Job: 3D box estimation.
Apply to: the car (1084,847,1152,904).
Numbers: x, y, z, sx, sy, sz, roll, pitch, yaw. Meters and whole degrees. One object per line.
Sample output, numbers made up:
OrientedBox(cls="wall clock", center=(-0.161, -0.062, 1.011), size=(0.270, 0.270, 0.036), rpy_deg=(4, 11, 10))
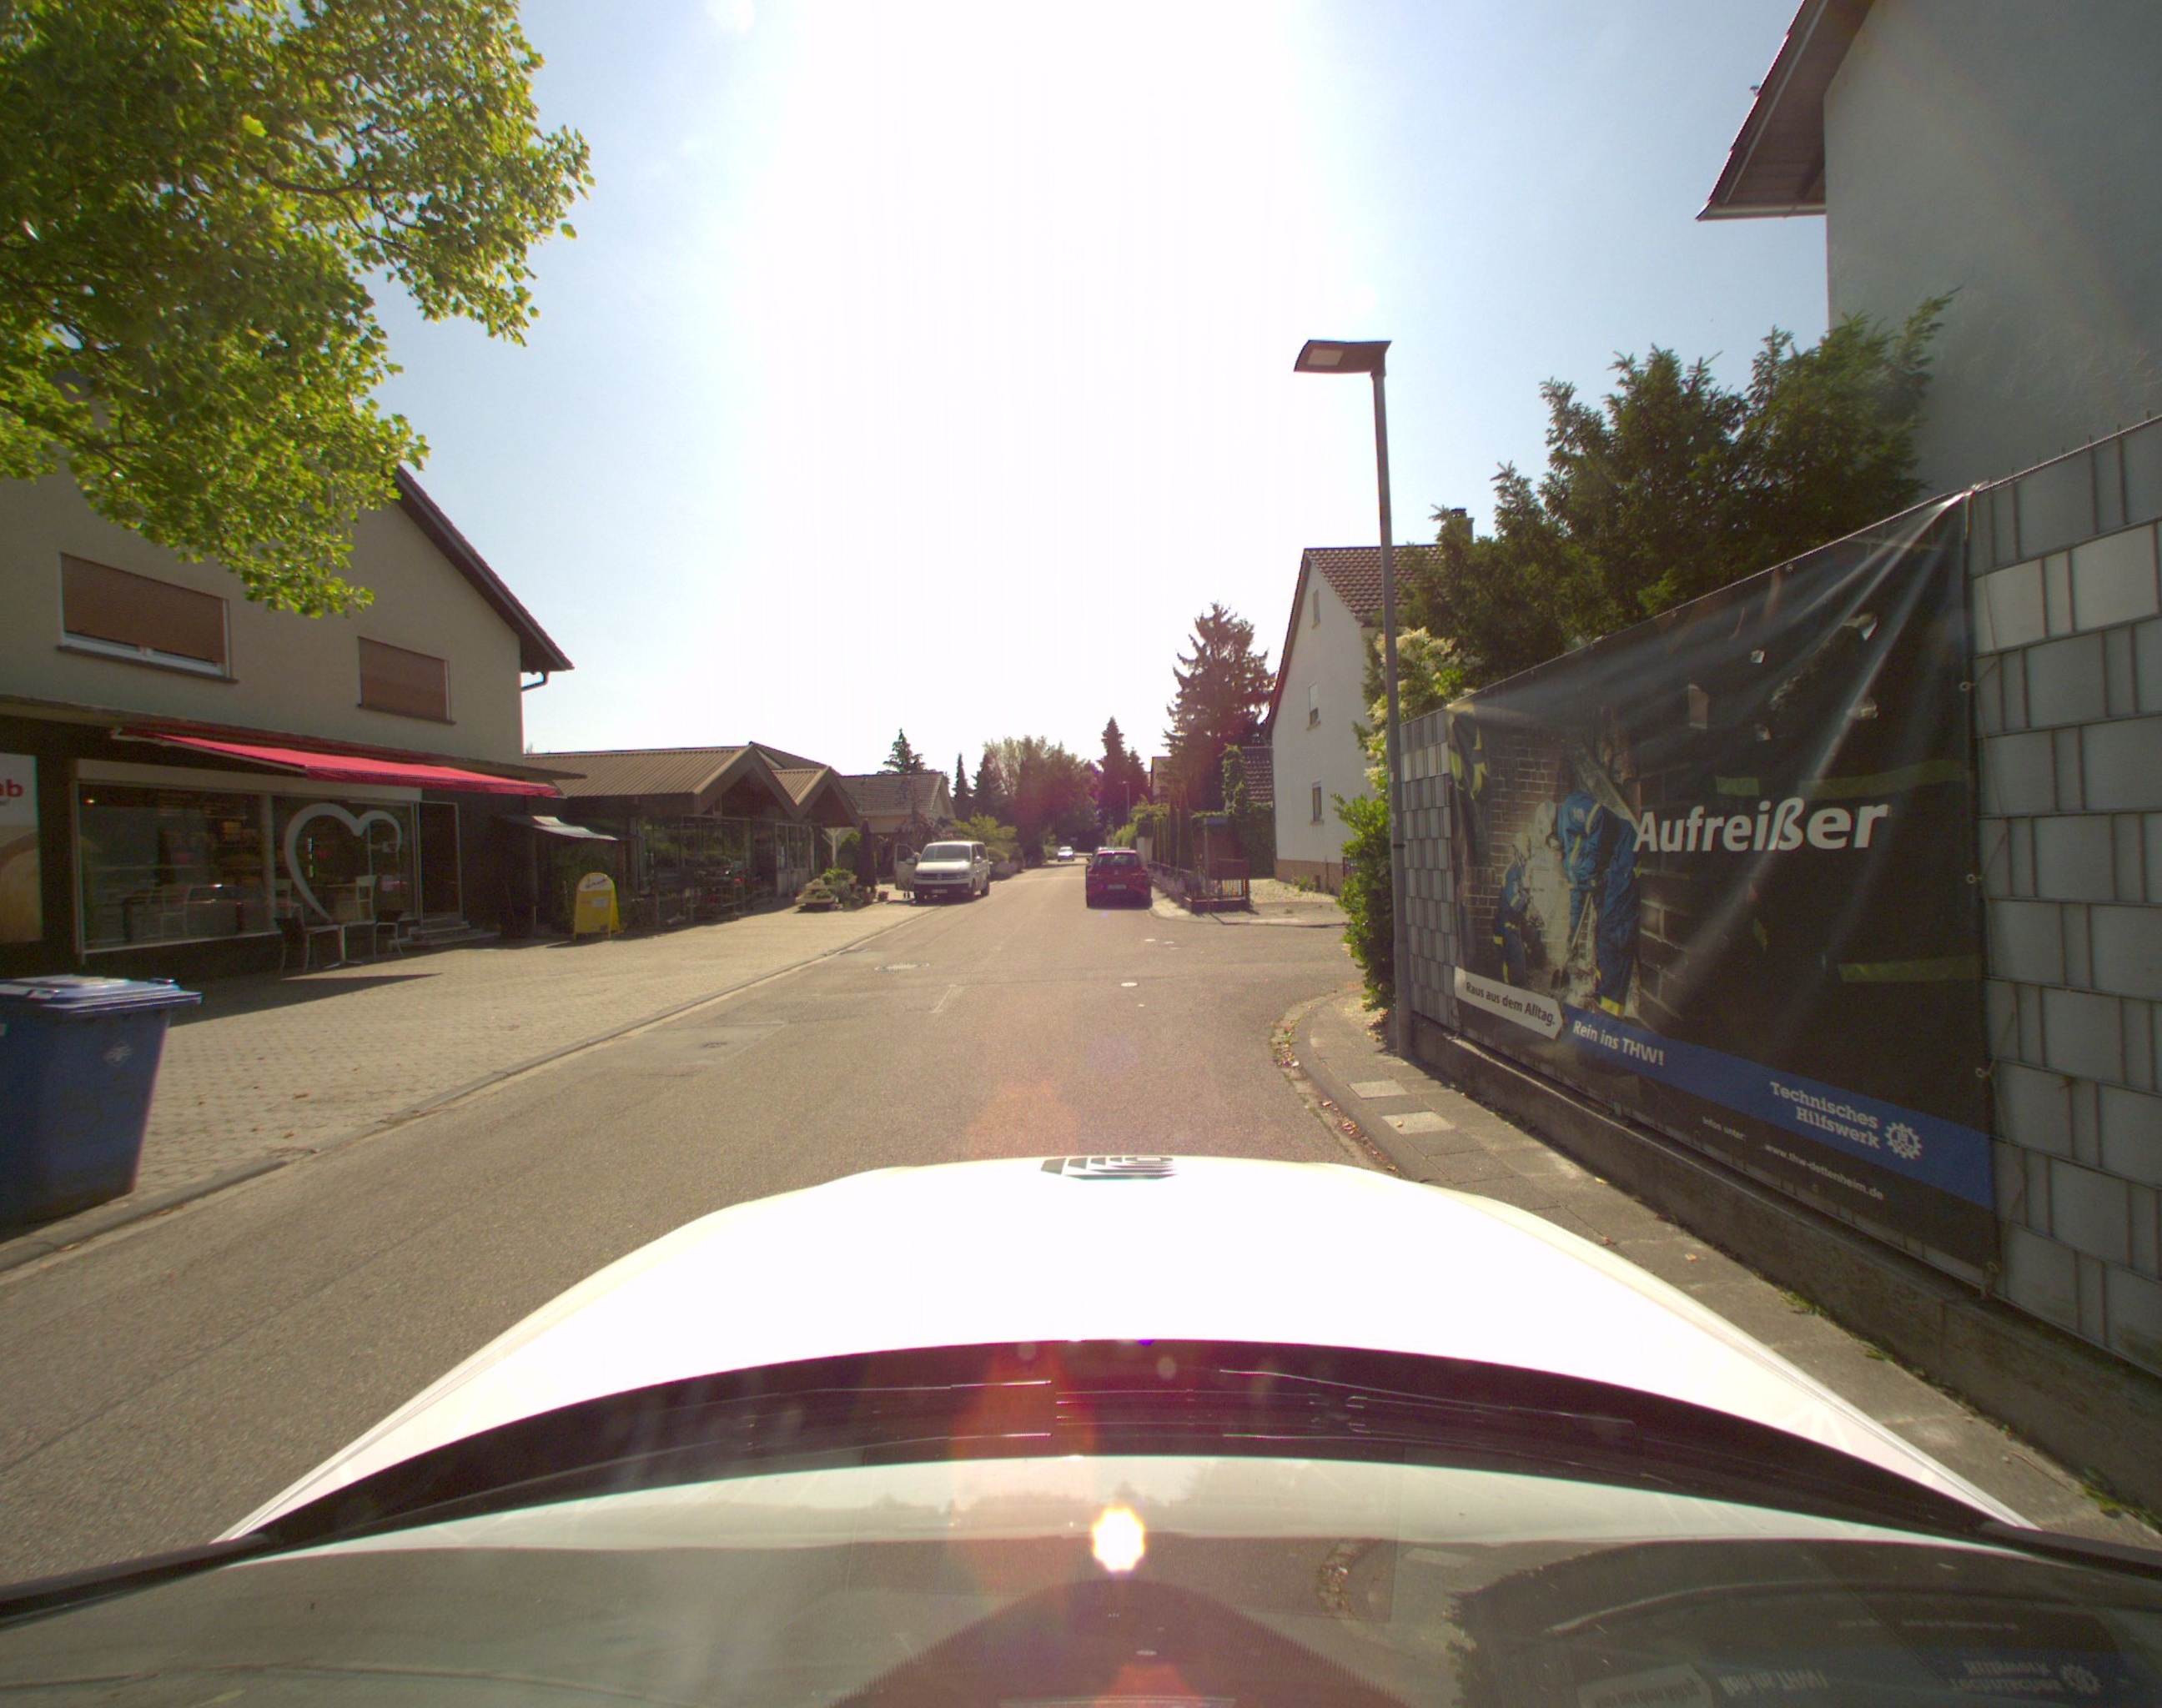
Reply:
OrientedBox(cls="car", center=(1.110, 0.560, 23.360), size=(1.767, 1.479, 4.005), rpy_deg=(0, 0, 4))

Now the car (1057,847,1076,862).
OrientedBox(cls="car", center=(-1.499, 0.001, 85.392), size=(1.746, 1.487, 4.377), rpy_deg=(-3, 0, 2))

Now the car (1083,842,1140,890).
OrientedBox(cls="car", center=(1.075, 0.400, 30.209), size=(1.817, 1.615, 3.997), rpy_deg=(-1, 0, -2))

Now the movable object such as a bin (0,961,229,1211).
OrientedBox(cls="movable object such as a bin", center=(-4.923, 1.105, 4.037), size=(0.728, 1.054, 0.612), rpy_deg=(-1, 0, 1))

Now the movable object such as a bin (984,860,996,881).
OrientedBox(cls="movable object such as a bin", center=(-4.582, 0.805, 40.921), size=(0.492, 1.024, 0.447), rpy_deg=(-2, 0, 1))

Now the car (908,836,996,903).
OrientedBox(cls="car", center=(-4.267, 0.465, 27.748), size=(1.921, 2.013, 4.899), rpy_deg=(-2, 0, 2))

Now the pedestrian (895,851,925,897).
OrientedBox(cls="pedestrian", center=(-5.803, 0.676, 27.681), size=(0.710, 1.538, 0.646), rpy_deg=(-1, 1, 34))
